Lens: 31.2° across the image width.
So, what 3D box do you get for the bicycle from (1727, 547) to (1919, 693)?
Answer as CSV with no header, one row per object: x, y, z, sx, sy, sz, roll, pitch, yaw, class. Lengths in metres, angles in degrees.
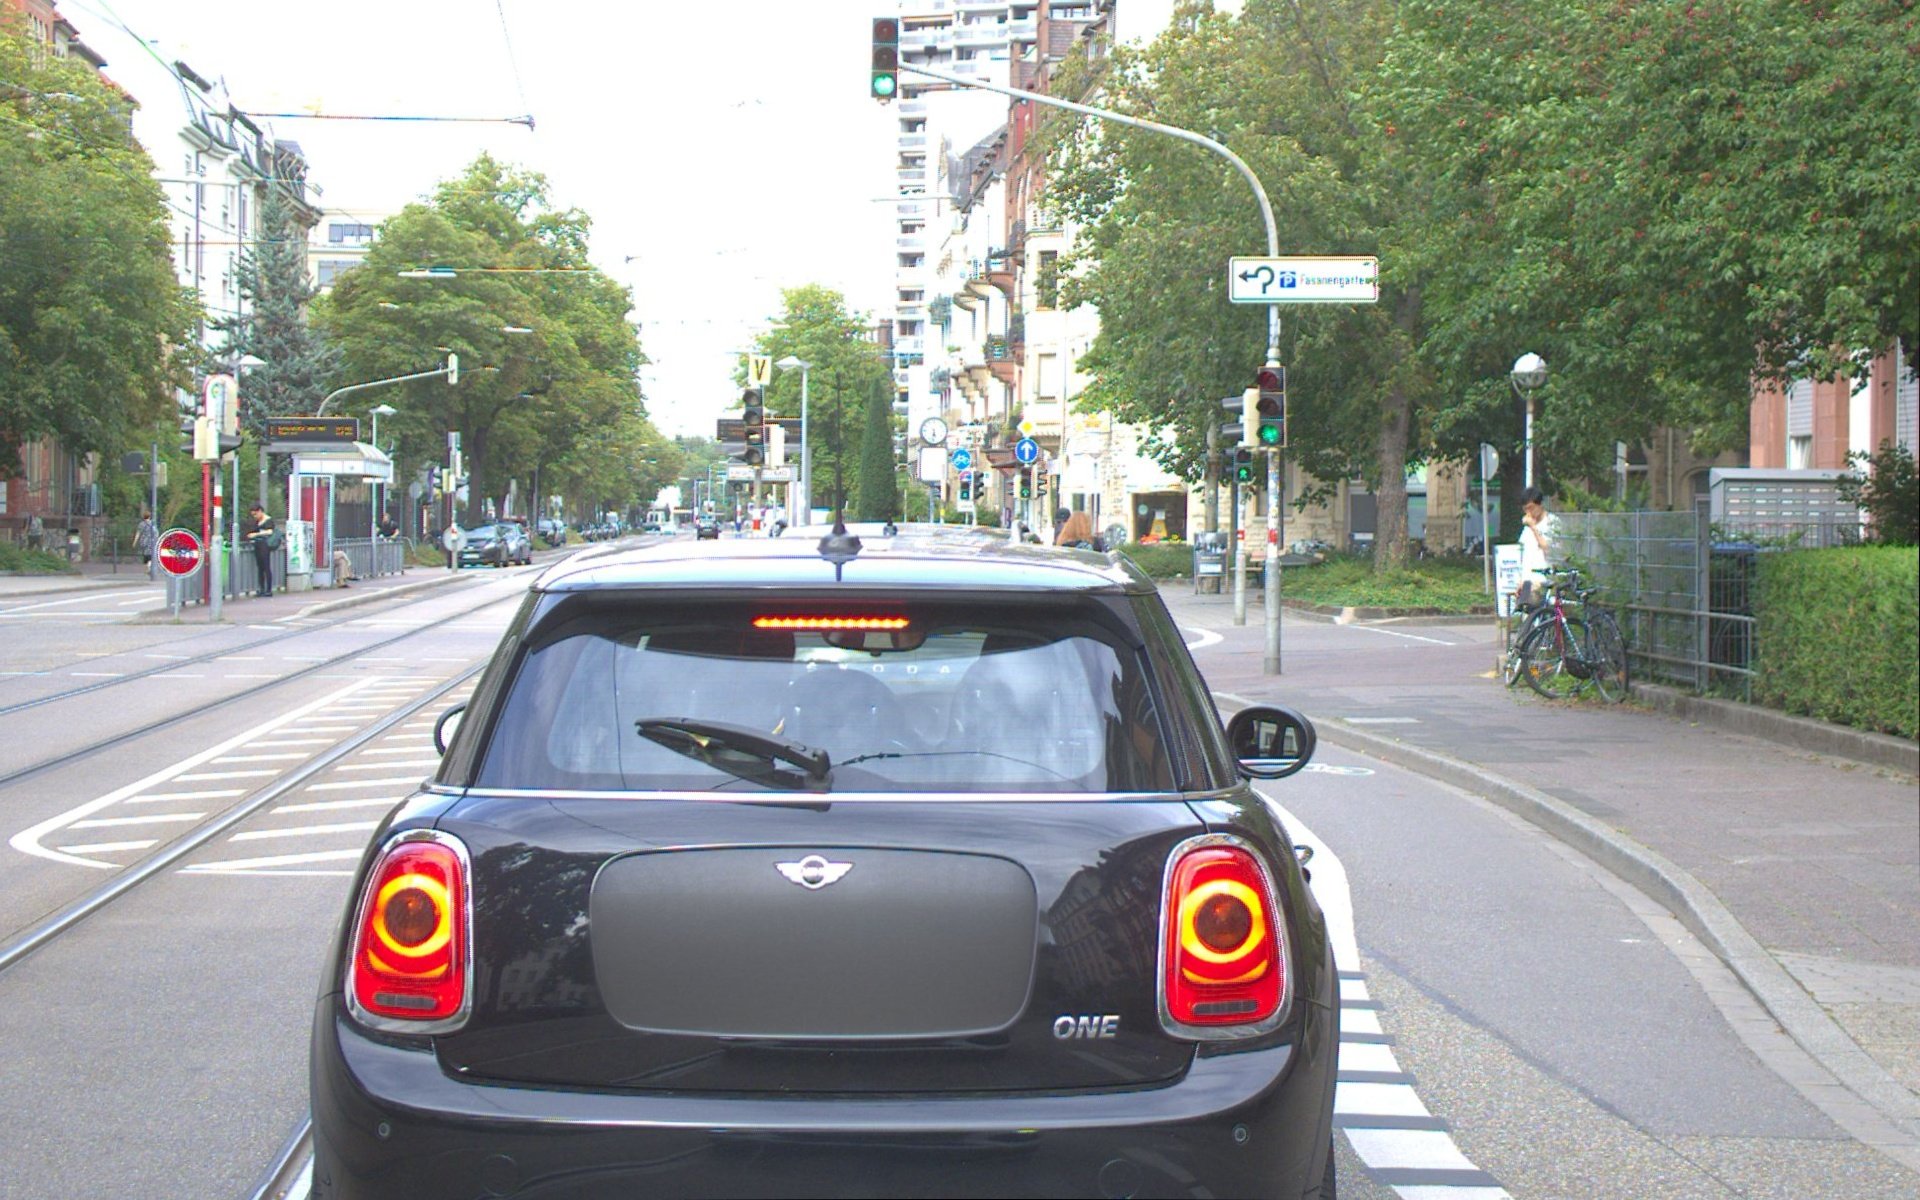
6.222,0.137,24.114,1.545,1.005,0.510,0,1,-5,bicycle

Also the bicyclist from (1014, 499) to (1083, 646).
0.952,-0.306,37.105,0.684,1.558,0.998,0,1,-2,bicyclist

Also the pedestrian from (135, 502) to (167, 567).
-21.637,-1.752,91.990,0.694,1.713,0.758,0,1,-2,pedestrian

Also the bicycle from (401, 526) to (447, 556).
-20.420,-2.247,131.011,1.667,1.115,0.573,-1,2,-43,bicycle

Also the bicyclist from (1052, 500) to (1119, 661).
1.227,-0.202,33.739,0.594,1.545,1.014,0,1,-1,bicyclist

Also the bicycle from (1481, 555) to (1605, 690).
4.983,0.177,29.458,0.671,1.102,1.672,0,1,-4,bicycle

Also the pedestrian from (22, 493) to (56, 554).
-25.965,-2.153,96.914,0.832,1.697,0.733,0,1,-9,pedestrian

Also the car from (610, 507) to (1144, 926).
-0.312,0.383,14.482,1.927,1.504,4.000,1,1,0,car

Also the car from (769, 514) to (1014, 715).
-0.558,0.054,27.088,1.751,1.436,4.480,1,1,-2,car

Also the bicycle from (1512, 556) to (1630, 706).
4.734,0.226,26.718,0.508,1.085,1.550,-3,2,-3,bicycle

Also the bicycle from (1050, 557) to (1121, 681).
1.220,0.172,33.754,0.598,1.166,1.697,0,1,-1,bicycle

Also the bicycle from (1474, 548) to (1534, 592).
14.066,-0.785,88.917,0.667,1.124,1.889,2,1,38,bicycle

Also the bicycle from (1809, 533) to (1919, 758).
5.523,0.246,20.423,0.516,1.277,1.550,0,1,-2,bicycle

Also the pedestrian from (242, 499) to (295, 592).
-12.150,-0.961,60.427,0.851,1.615,0.843,0,1,-9,pedestrian

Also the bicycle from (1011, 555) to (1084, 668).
0.940,0.107,37.170,0.684,1.166,1.697,0,1,-2,bicycle

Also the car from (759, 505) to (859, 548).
-8.046,-3.925,183.571,5.026,2.265,2.396,0,2,-44,car

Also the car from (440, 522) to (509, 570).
-15.757,-1.766,111.789,1.751,1.436,4.001,2,1,-2,car

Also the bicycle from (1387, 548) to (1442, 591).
12.005,-0.810,90.763,0.532,1.124,1.889,1,1,38,bicycle

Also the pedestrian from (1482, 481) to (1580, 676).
5.202,-0.204,31.368,0.730,1.748,0.950,1,1,1,pedestrian

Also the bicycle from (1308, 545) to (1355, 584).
10.051,-0.963,92.994,0.449,1.051,1.645,1,1,38,bicycle

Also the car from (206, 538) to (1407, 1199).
-0.235,0.609,7.045,1.751,1.436,4.000,1,1,0,car

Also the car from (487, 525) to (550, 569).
-15.313,-1.866,119.455,1.751,1.436,4.001,2,1,-2,car

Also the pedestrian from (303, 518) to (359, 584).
-12.506,-0.972,68.398,1.058,1.289,0.986,0,1,-9,pedestrian
